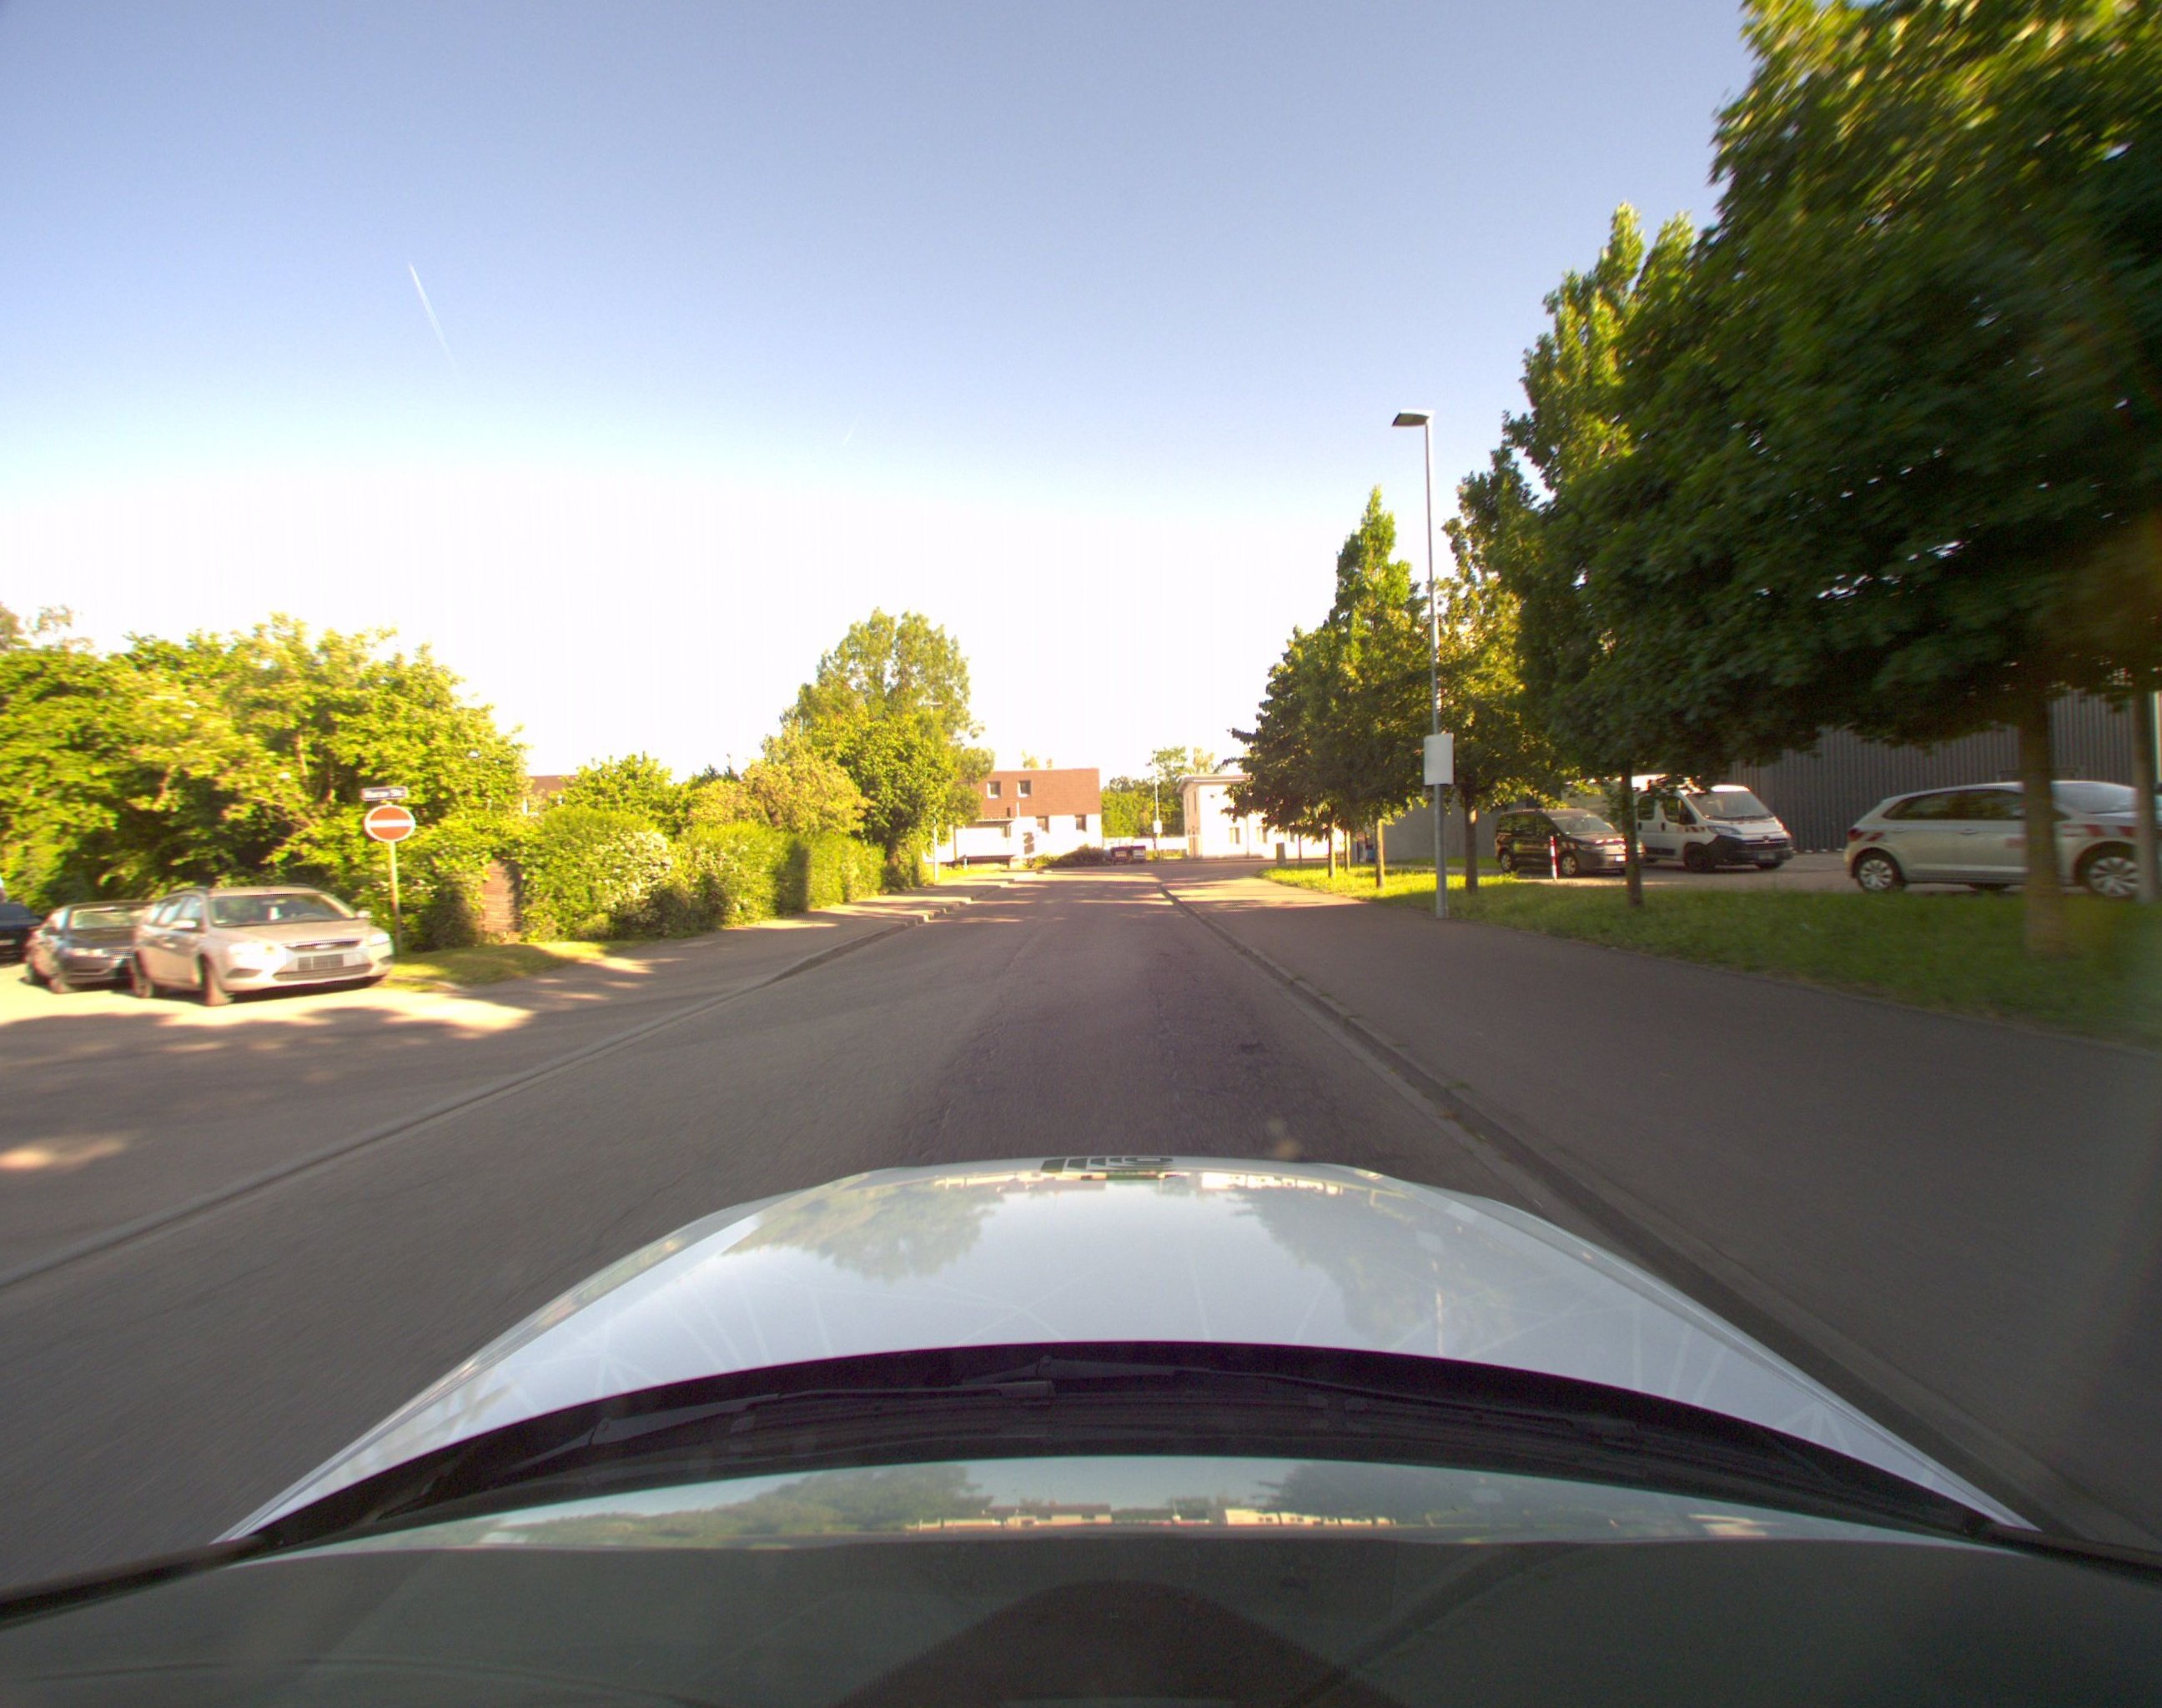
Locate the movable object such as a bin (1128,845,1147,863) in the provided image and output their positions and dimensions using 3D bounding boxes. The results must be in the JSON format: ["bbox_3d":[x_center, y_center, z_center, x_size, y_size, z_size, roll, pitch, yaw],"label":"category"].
[{"bbox_3d":[4.363,0.003,63.115,1.363,1.418,1.063,-1,0,-5],"label":"movable object such as a bin"}]

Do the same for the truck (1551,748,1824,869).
[{"bbox_3d":[16.274,-1.110,22.587,2.353,2.837,6.743,-1,1,-3],"label":"truck"}]

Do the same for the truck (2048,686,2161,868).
[{"bbox_3d":[16.934,-1.144,10.148,2.273,2.677,6.404,-1,0,2],"label":"truck"}]

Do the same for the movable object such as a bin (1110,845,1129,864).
[{"bbox_3d":[2.968,0.017,62.801,1.363,1.418,1.063,-1,0,-5],"label":"movable object such as a bin"}]

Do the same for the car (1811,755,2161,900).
[{"bbox_3d":[11.801,-0.269,9.996,1.829,1.466,4.277,-1,0,-1],"label":"car"}]

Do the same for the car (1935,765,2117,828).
[{"bbox_3d":[33.229,-1.970,28.821,1.850,1.918,4.001,-1,0,2],"label":"car"}]

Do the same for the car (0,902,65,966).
[{"bbox_3d":[-27.759,2.010,20.612,3.799,1.433,1.888,-1,0,28],"label":"car"}]

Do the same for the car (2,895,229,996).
[{"bbox_3d":[-16.592,1.537,13.961,4.152,1.436,1.654,-4,-2,28],"label":"car"}]

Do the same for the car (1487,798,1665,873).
[{"bbox_3d":[13.253,-0.449,22.206,1.831,1.814,4.661,-1,0,-3],"label":"car"}]

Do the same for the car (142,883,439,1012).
[{"bbox_3d":[-11.440,1.203,11.762,4.170,1.490,1.888,-1,0,28],"label":"car"}]
